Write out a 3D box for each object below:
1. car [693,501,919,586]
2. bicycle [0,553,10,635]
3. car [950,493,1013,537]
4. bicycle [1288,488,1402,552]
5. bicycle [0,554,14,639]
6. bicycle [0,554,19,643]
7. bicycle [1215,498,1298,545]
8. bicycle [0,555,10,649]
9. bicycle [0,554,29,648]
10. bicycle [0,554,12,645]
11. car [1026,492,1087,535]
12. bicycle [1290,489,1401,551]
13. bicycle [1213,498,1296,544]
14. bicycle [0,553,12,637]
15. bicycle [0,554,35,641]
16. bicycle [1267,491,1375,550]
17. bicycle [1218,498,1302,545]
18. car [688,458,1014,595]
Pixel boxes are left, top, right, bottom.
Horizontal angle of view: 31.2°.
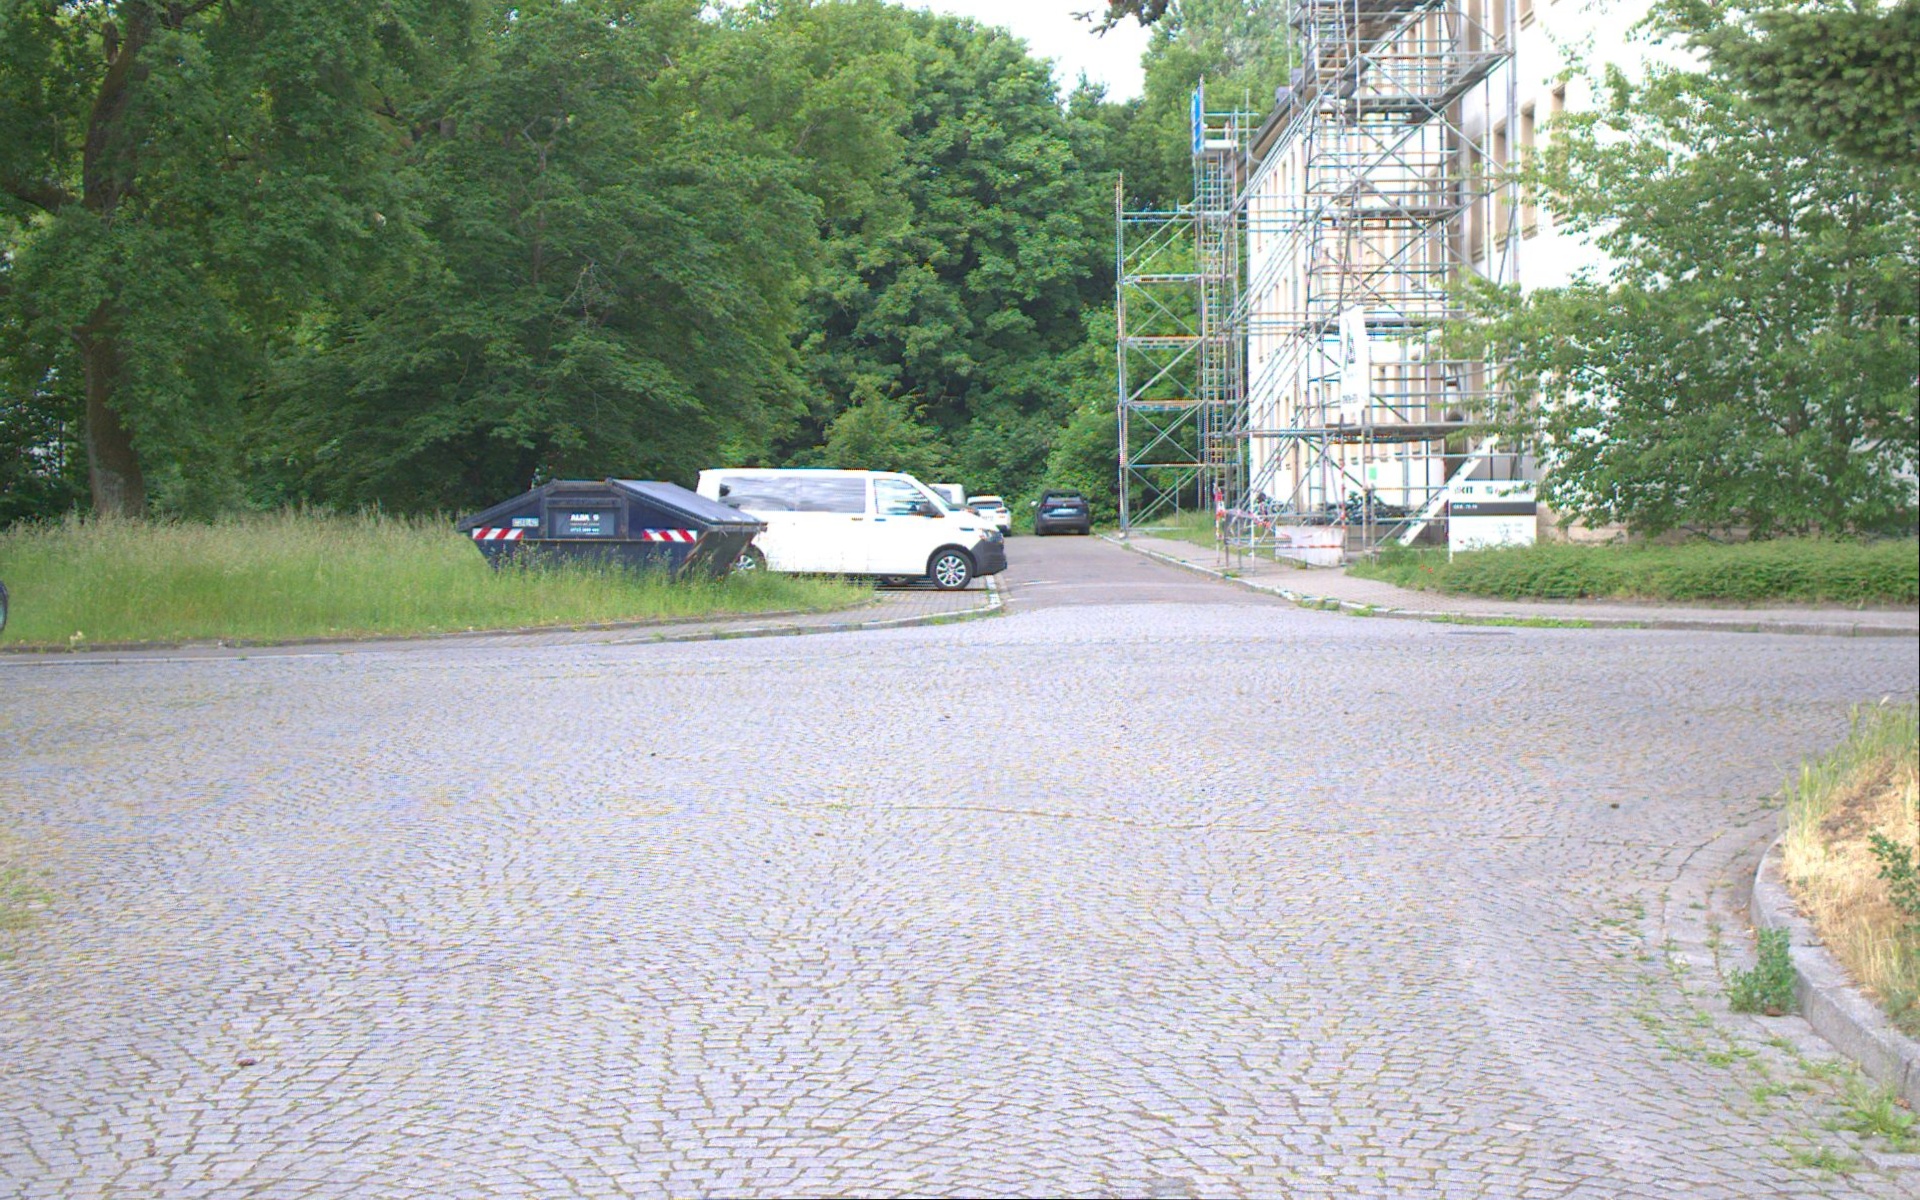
[{"bbox_3d":[-2.639,-0.981,59.089,3.788,1.390,2.000,-1,2,-2],"label":"car"},{"bbox_3d":[-12.601,-0.057,41.789,1.957,0.986,0.627,-1,2,-22],"label":"bicycle"},{"bbox_3d":[0.744,-3.043,122.434,2.118,1.516,4.000,-1,2,-1],"label":"car"},{"bbox_3d":[7.761,-1.613,69.334,2.240,1.250,0.777,0,1,3],"label":"bicycle"},{"bbox_3d":[-12.087,-0.028,40.075,1.957,0.986,0.627,-1,2,-22],"label":"bicycle"},{"bbox_3d":[-11.590,-0.001,38.467,1.957,0.986,0.627,-1,2,-22],"label":"bicycle"},{"bbox_3d":[8.132,-2.156,94.294,2.240,1.250,0.698,0,1,3],"label":"bicycle"},{"bbox_3d":[-11.066,0.039,36.239,1.957,0.986,0.627,-1,2,-20],"label":"bicycle"},{"bbox_3d":[-11.038,0.025,36.863,1.957,0.986,0.627,-1,2,-22],"label":"bicycle"},{"bbox_3d":[-11.492,0.011,37.840,1.957,0.986,0.627,-1,2,-22],"label":"bicycle"},{"bbox_3d":[3.423,-3.093,122.701,1.951,1.516,4.001,-1,2,-1],"label":"car"},{"bbox_3d":[7.978,-1.658,71.244,2.240,1.250,0.777,0,1,3],"label":"bicycle"},{"bbox_3d":[8.140,-2.175,95.139,2.240,1.250,0.634,0,1,3],"label":"bicycle"},{"bbox_3d":[-12.264,-0.038,40.659,1.957,0.986,0.627,-1,2,-22],"label":"bicycle"},{"bbox_3d":[-11.641,-0.019,39.344,1.957,0.986,0.627,-1,2,-22],"label":"bicycle"},{"bbox_3d":[7.719,-1.704,73.591,2.240,1.250,0.777,0,1,3],"label":"bicycle"},{"bbox_3d":[8.112,-2.129,93.046,2.240,1.250,0.627,0,1,3],"label":"bicycle"},{"bbox_3d":[-1.787,-1.222,56.479,5.234,2.160,2.000,-1,2,-2],"label":"car"}]
